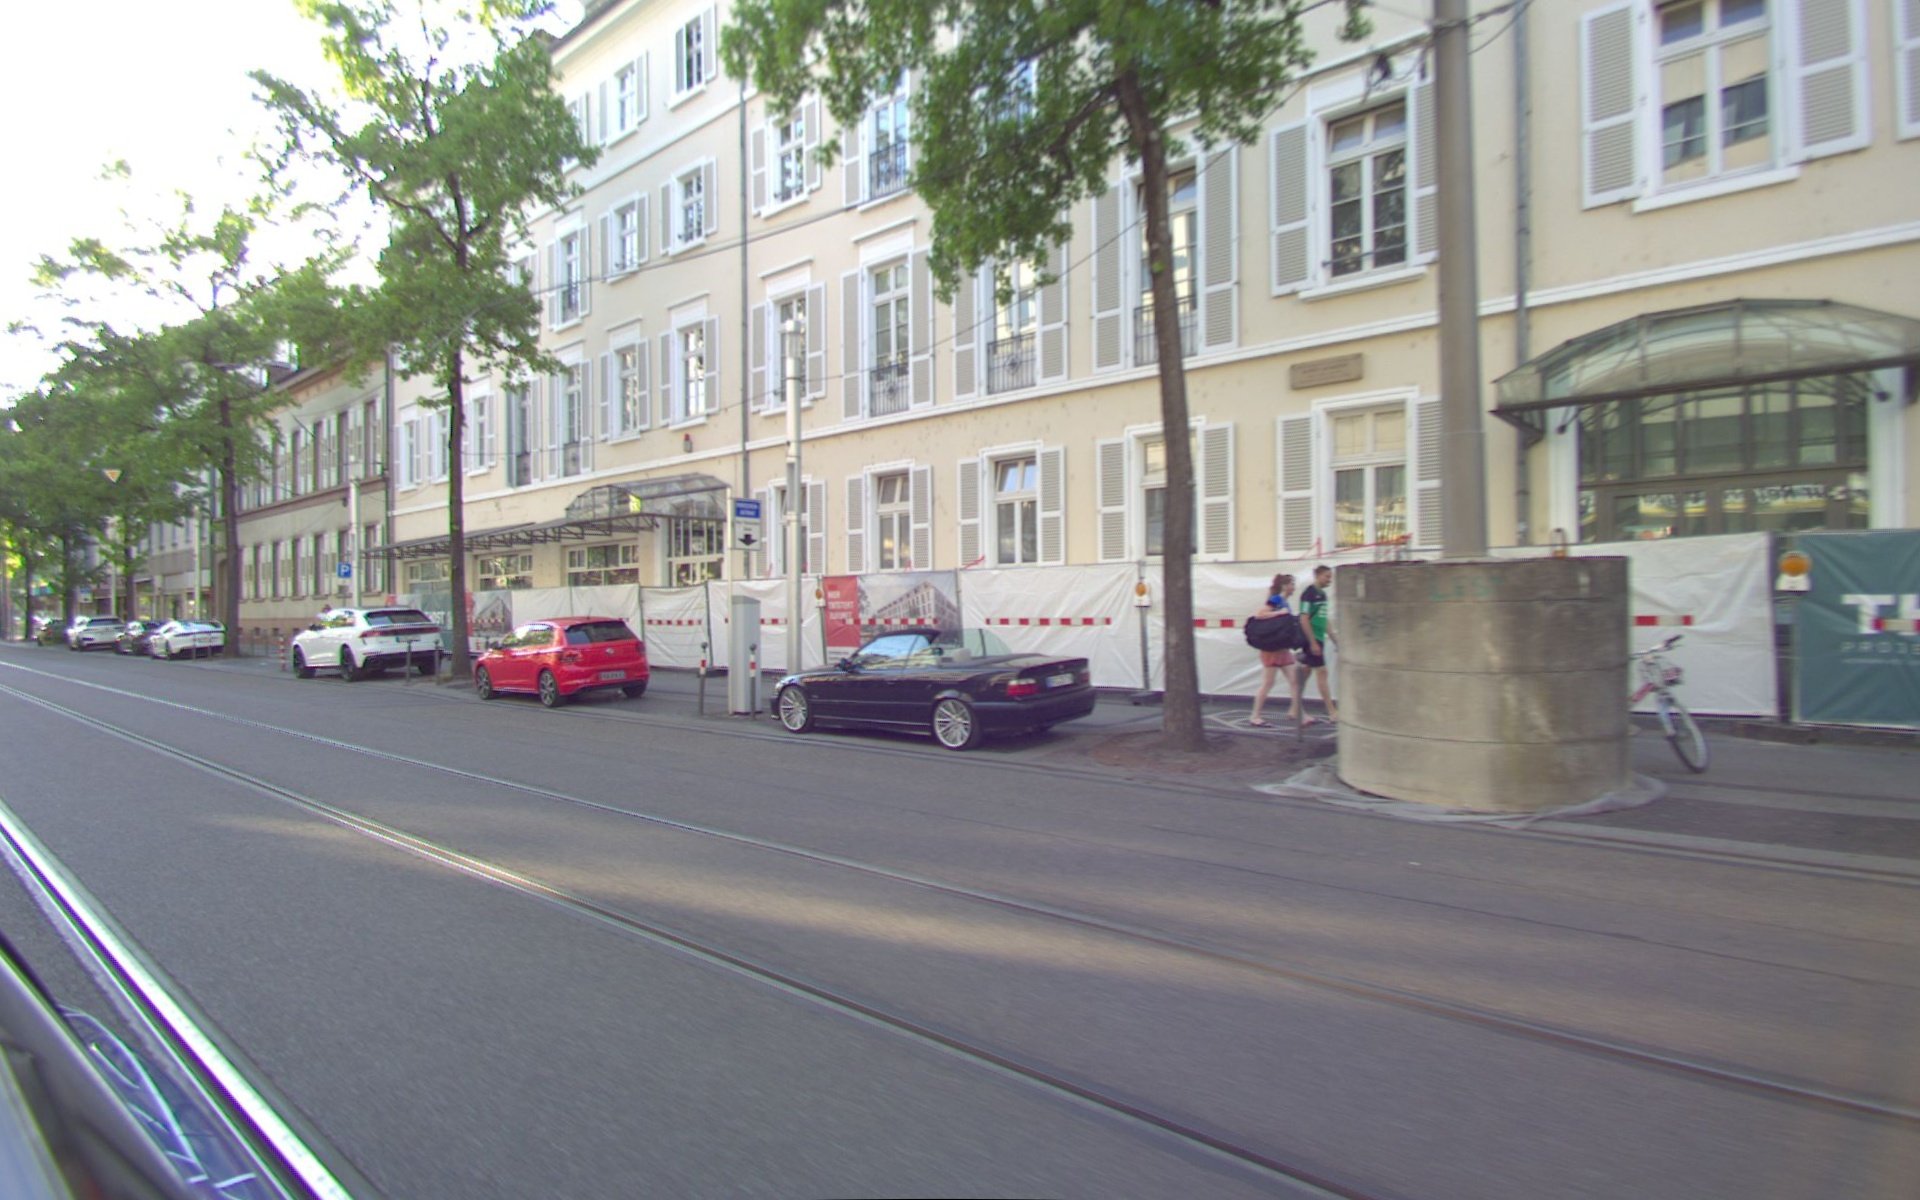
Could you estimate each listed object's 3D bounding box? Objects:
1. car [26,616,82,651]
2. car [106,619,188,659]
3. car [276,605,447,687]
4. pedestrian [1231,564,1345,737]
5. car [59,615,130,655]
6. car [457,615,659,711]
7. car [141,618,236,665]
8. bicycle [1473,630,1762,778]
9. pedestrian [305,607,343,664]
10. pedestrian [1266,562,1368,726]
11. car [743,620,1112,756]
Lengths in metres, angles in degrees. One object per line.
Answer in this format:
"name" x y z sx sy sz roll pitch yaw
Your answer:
"car" -53.475 1.986 59.693 4.763 1.972 1.907 -2 -2 41
"car" -33.790 1.611 42.005 4.338 1.477 1.724 -2 2 39
"car" -14.521 1.061 24.439 4.945 1.701 1.848 -1 2 38
"pedestrian" 3.633 0.523 11.205 0.884 1.795 0.856 -1 2 41
"car" -42.491 1.723 49.667 4.763 1.754 1.927 -2 2 41
"car" -7.212 1.038 17.949 4.140 1.416 1.642 -1 2 42
"car" -28.058 1.471 36.771 4.615 1.477 1.873 -2 2 42
"bicycle" 5.693 0.862 8.916 2.039 1.130 0.753 -2 2 31
"pedestrian" -20.347 1.118 32.365 0.933 1.755 0.736 -1 2 42
"pedestrian" 4.191 0.495 11.881 0.876 1.826 0.712 -1 2 41
"car" -0.544 0.932 12.287 4.505 1.254 1.700 -1 2 41
